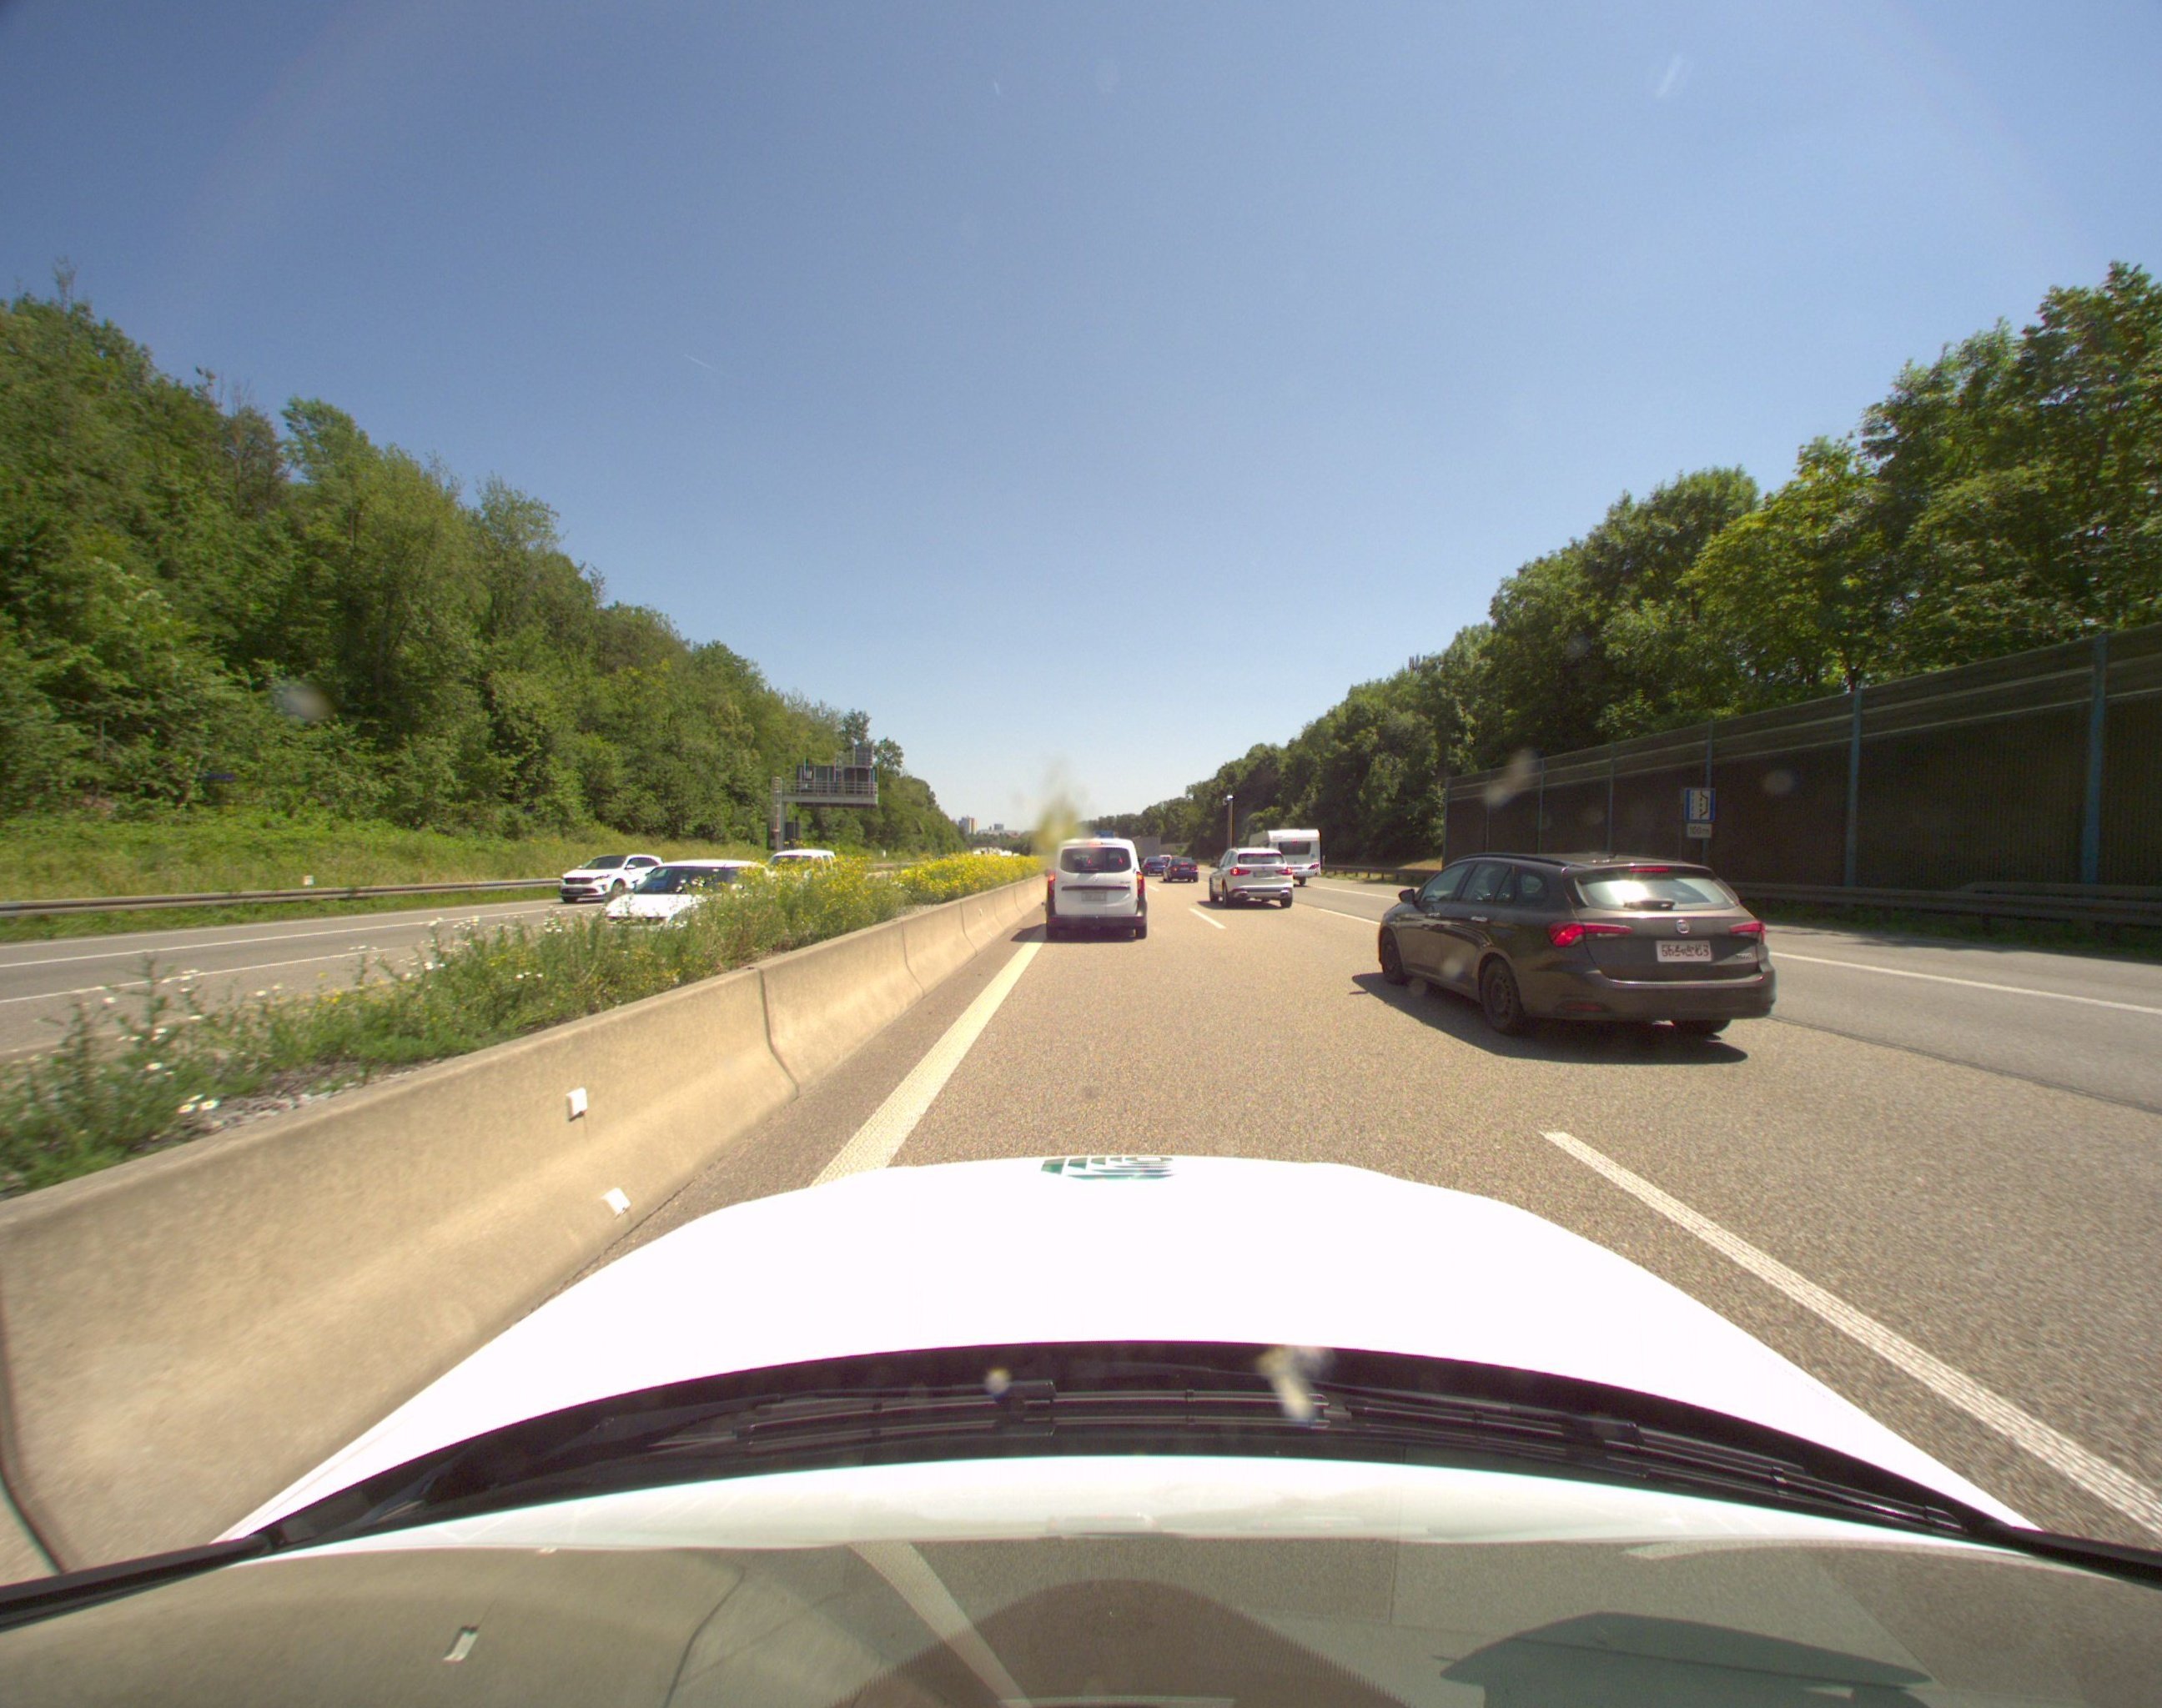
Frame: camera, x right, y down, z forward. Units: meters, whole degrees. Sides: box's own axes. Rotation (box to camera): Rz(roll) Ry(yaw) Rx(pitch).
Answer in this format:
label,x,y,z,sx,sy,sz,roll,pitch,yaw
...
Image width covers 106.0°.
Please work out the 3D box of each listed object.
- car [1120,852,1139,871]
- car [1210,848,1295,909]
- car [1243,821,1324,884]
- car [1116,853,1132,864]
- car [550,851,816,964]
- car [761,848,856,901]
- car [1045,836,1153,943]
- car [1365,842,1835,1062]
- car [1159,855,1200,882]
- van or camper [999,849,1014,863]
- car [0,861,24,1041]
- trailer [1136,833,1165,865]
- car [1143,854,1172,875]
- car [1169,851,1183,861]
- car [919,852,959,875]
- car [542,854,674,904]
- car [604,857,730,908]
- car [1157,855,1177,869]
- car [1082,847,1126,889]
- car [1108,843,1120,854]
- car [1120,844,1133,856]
label,x,y,z,sx,sy,sz,roll,pitch,yaw
car,5.130,0.761,86.164,1.818,1.989,4.000,-1,0,1
car,4.916,0.646,23.823,1.863,1.608,3.882,0,0,3
car,9.613,-0.077,39.279,2.470,2.766,6.220,-1,0,1
car,5.566,0.601,105.736,1.818,1.447,4.000,-1,0,1
car,-6.143,0.721,13.334,1.931,1.503,4.660,-1,0,2
car,-9.790,0.694,29.641,1.878,1.755,4.278,-1,0,2
car,0.352,0.584,15.855,1.796,1.808,4.001,-1,0,1
car,4.349,0.661,7.825,1.831,1.513,4.403,0,0,2
car,5.433,0.766,45.228,1.818,1.424,4.000,-1,0,1
van or camper,-14.882,0.377,163.864,2.301,2.636,7.397,-1,0,0
car,-9.941,0.821,5.037,1.669,1.498,3.884,-1,0,2
trailer,9.159,-0.613,108.278,3.071,3.985,10.324,-1,0,1
car,5.527,0.740,59.370,1.818,1.424,4.000,-1,0,1
car,14.865,0.316,127.625,1.781,1.519,4.001,-1,0,1
car,-10.032,0.673,57.828,1.986,1.573,4.066,-1,0,1
car,-17.276,0.857,30.084,1.986,1.692,4.769,-1,0,2
car,-13.408,0.874,26.662,1.986,1.491,4.001,-1,0,2
car,9.502,0.877,89.780,1.818,1.424,4.000,-1,0,1
car,1.064,0.619,38.635,1.987,1.860,4.000,-1,0,1
car,6.335,-1.022,158.859,1.989,2.013,3.996,-1,0,-3
car,7.916,-0.691,142.099,1.986,2.013,4.001,-1,0,1
